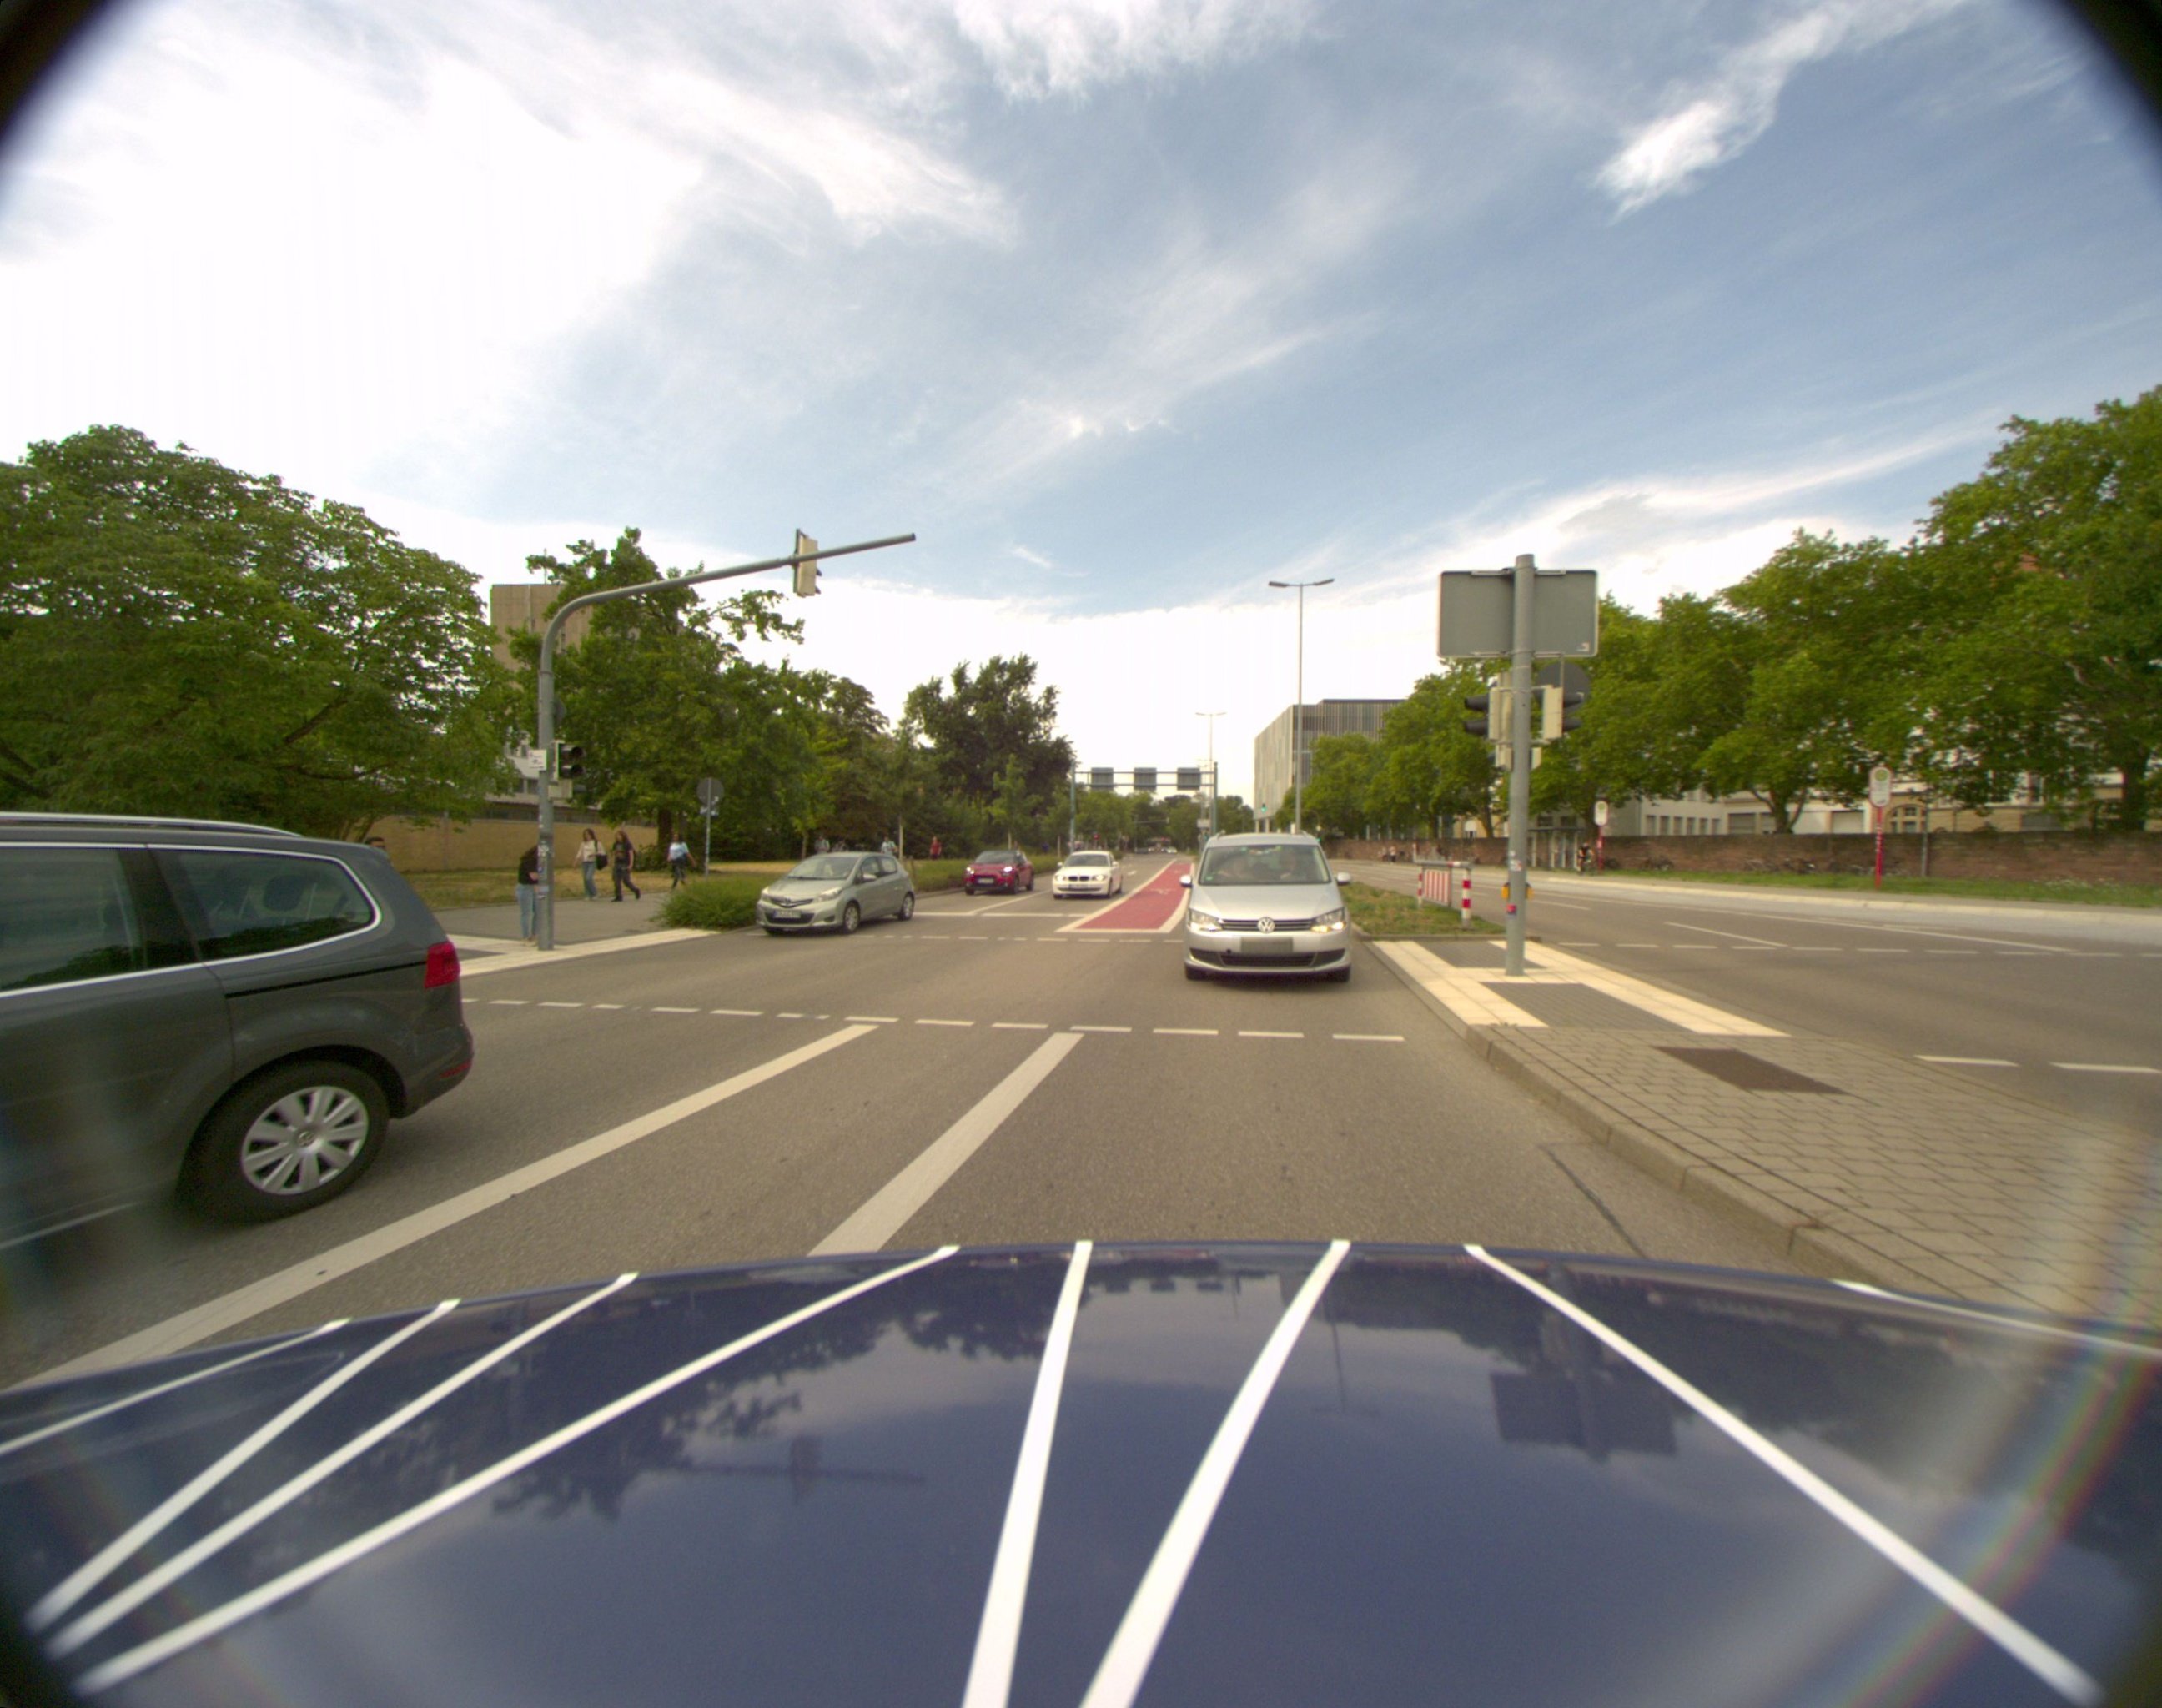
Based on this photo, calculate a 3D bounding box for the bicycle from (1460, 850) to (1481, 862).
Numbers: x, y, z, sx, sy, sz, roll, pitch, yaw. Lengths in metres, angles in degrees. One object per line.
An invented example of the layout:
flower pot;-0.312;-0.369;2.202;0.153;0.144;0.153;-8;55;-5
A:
bicycle;31.834;0.158;62.153;0.661;0.882;1.574;-3;1;-11

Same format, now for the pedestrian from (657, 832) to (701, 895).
pedestrian;-11.117;0.247;21.033;0.714;1.701;0.800;-1;2;5

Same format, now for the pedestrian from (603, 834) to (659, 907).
pedestrian;-10.865;0.382;18.376;0.839;1.701;0.799;-2;2;-7

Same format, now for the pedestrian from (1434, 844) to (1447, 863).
pedestrian;31.425;-0.076;66.405;0.756;1.612;0.664;-3;2;-33

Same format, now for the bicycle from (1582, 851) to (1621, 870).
bicycle;33.995;0.435;49.685;0.759;1.182;2.096;2;0;-13

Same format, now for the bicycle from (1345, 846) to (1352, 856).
bicycle;31.011;-0.340;88.192;0.512;1.202;1.396;-1;1;8

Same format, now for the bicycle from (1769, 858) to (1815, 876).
bicycle;36.746;0.661;39.301;0.359;0.859;1.807;2;0;-12

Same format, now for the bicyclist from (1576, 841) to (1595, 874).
bicyclist;24.245;0.142;36.508;0.578;1.547;0.799;1;4;22

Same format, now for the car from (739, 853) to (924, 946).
car;-4.694;0.792;14.939;1.669;1.481;3.878;-1;1;12

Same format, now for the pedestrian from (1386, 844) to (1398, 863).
pedestrian;26.779;-0.029;65.416;0.754;1.612;0.665;-1;2;2

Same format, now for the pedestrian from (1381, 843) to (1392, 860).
pedestrian;29.122;-0.244;72.482;0.754;1.612;0.665;-1;2;2

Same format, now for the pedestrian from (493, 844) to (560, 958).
pedestrian;-8.495;0.704;11.653;0.480;1.701;0.588;-1;2;13

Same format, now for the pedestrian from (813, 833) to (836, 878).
pedestrian;-9.861;0.064;29.225;0.544;1.686;0.695;2;2;5

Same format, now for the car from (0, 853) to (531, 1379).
car;-4.483;0.897;2.091;1.757;1.641;4.690;-1;1;15

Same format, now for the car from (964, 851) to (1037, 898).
car;-2.674;0.642;26.011;1.669;1.407;3.458;-1;1;7

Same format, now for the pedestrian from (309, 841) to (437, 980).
pedestrian;-9.107;0.699;9.807;0.798;1.701;0.840;-1;2;13

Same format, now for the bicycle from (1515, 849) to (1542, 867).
bicycle;31.920;0.306;54.185;2.102;1.182;0.756;2;1;-31

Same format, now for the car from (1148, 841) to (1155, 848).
car;22.773;-2.997;245.125;1.997;2.002;4.001;-1;1;6

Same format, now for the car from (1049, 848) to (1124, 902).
car;0.275;0.594;23.769;1.758;1.450;4.225;-1;1;8

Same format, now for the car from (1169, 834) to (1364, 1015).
car;2.297;0.633;9.624;1.822;1.724;4.532;-1;1;13

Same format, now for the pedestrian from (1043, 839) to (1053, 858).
pedestrian;-3.089;-0.522;70.984;0.713;1.701;0.695;-1;2;8

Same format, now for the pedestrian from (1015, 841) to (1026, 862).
pedestrian;-4.817;-0.218;60.879;0.713;1.701;0.695;-1;2;8

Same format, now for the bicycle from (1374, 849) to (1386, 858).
bicycle;30.723;-0.019;78.094;0.433;0.882;1.575;-3;1;-3

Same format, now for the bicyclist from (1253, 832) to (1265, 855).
bicyclist;13.391;-0.770;57.302;0.777;1.701;1.087;3;1;11

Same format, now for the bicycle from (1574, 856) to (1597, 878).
bicycle;24.241;0.617;36.543;0.505;0.931;1.974;1;3;22

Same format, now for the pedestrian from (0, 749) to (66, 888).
pedestrian;-14.346;-0.453;10.015;0.838;1.798;0.800;-1;2;11

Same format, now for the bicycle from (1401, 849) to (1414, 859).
bicycle;31.047;-0.006;72.304;0.433;0.882;1.575;-3;1;-3

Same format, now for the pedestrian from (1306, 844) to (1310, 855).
pedestrian;28.602;-0.571;95.763;0.402;1.449;0.473;-1;2;2

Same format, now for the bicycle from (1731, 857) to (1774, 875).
bicycle;36.302;0.638;41.089;0.359;0.859;1.820;2;0;-15

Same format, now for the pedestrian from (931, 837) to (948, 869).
pedestrian;-7.654;-0.063;41.127;0.713;1.701;0.695;-1;2;8

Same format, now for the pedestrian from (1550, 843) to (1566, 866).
pedestrian;33.182;0.033;52.887;0.569;1.612;0.754;-2;2;-14

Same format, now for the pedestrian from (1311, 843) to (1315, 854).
pedestrian;29.343;-0.719;96.030;0.402;1.449;0.473;-1;2;2

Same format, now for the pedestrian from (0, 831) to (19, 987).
pedestrian;-12.286;0.617;8.084;0.838;1.701;0.800;-1;2;11

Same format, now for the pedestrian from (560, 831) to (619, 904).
pedestrian;-11.752;0.312;18.199;0.839;1.701;0.799;-2;2;-7

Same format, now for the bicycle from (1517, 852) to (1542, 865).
bicycle;32.817;0.310;55.600;0.661;0.882;1.574;-3;1;-11

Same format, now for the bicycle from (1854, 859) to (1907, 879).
bicycle;37.920;0.693;36.063;0.359;0.859;1.706;2;0;-17

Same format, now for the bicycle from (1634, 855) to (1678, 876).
bicycle;34.746;0.687;45.939;0.759;1.182;2.096;2;0;-13

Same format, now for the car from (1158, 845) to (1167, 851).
car;22.288;-1.681;206.889;1.997;1.565;4.003;-1;1;12

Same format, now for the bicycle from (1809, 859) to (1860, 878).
bicycle;37.117;0.688;37.459;0.359;0.859;1.888;2;0;-11

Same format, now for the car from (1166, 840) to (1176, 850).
car;18.739;-1.819;158.065;1.997;2.002;4.001;-1;1;6

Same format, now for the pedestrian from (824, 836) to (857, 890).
pedestrian;-7.801;0.282;24.681;0.733;1.701;0.694;-1;2;11

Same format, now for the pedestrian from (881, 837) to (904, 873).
pedestrian;-8.908;0.043;35.953;0.841;1.701;0.695;-1;2;5
